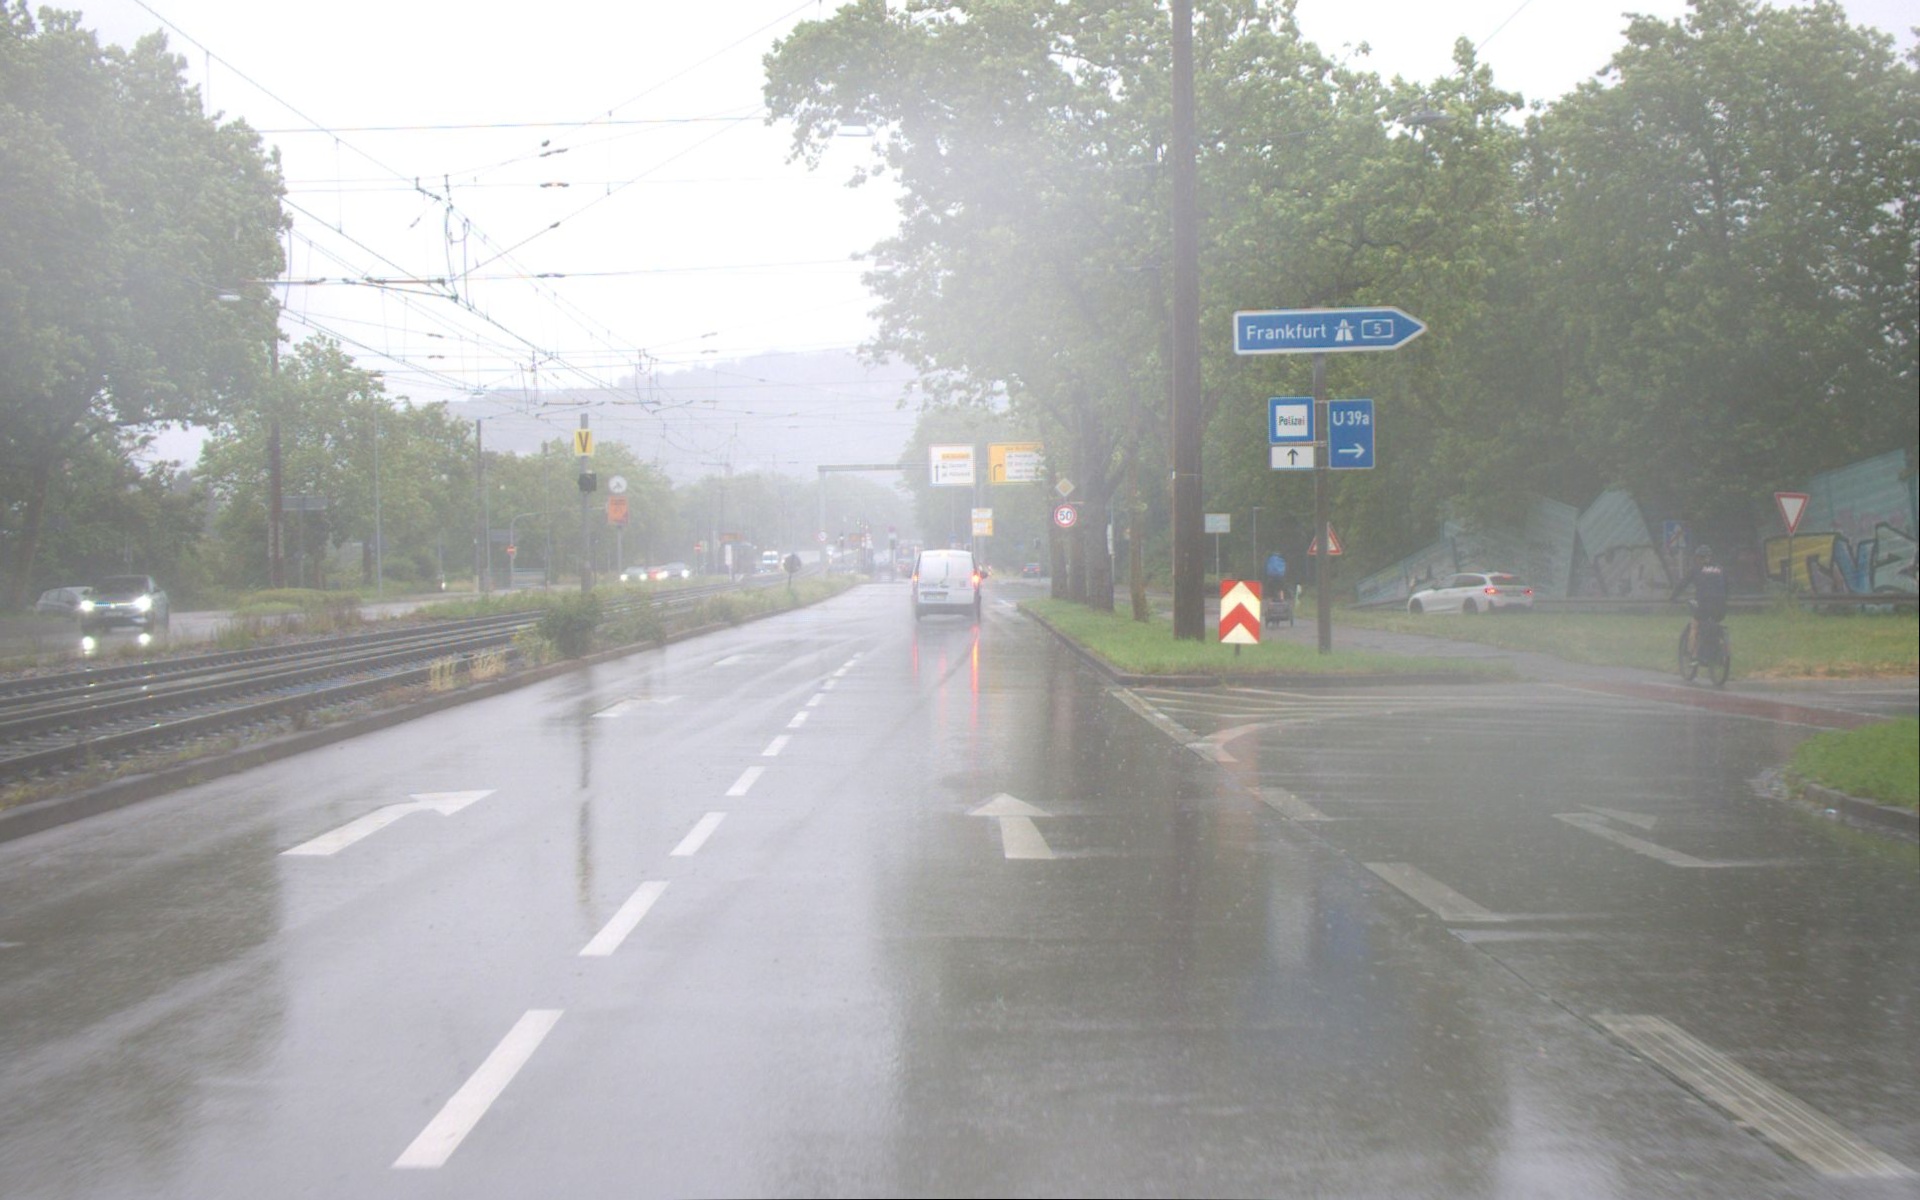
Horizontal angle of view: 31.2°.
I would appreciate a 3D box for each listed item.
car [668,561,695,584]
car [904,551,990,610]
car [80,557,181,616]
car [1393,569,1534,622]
[{"bbox_3d":[-20.551,-2.041,253.994,1.943,1.610,4.989,-1,1,-4],"label":"car"},{"bbox_3d":[-0.347,-0.507,86.877,2.077,1.415,4.000,-1,1,-1],"label":"car"},{"bbox_3d":[-22.360,-0.385,92.842,1.690,1.518,4.956,0,1,-2],"label":"car"},{"bbox_3d":[15.078,-0.158,103.206,1.948,1.531,4.467,0,1,-27],"label":"car"}]
